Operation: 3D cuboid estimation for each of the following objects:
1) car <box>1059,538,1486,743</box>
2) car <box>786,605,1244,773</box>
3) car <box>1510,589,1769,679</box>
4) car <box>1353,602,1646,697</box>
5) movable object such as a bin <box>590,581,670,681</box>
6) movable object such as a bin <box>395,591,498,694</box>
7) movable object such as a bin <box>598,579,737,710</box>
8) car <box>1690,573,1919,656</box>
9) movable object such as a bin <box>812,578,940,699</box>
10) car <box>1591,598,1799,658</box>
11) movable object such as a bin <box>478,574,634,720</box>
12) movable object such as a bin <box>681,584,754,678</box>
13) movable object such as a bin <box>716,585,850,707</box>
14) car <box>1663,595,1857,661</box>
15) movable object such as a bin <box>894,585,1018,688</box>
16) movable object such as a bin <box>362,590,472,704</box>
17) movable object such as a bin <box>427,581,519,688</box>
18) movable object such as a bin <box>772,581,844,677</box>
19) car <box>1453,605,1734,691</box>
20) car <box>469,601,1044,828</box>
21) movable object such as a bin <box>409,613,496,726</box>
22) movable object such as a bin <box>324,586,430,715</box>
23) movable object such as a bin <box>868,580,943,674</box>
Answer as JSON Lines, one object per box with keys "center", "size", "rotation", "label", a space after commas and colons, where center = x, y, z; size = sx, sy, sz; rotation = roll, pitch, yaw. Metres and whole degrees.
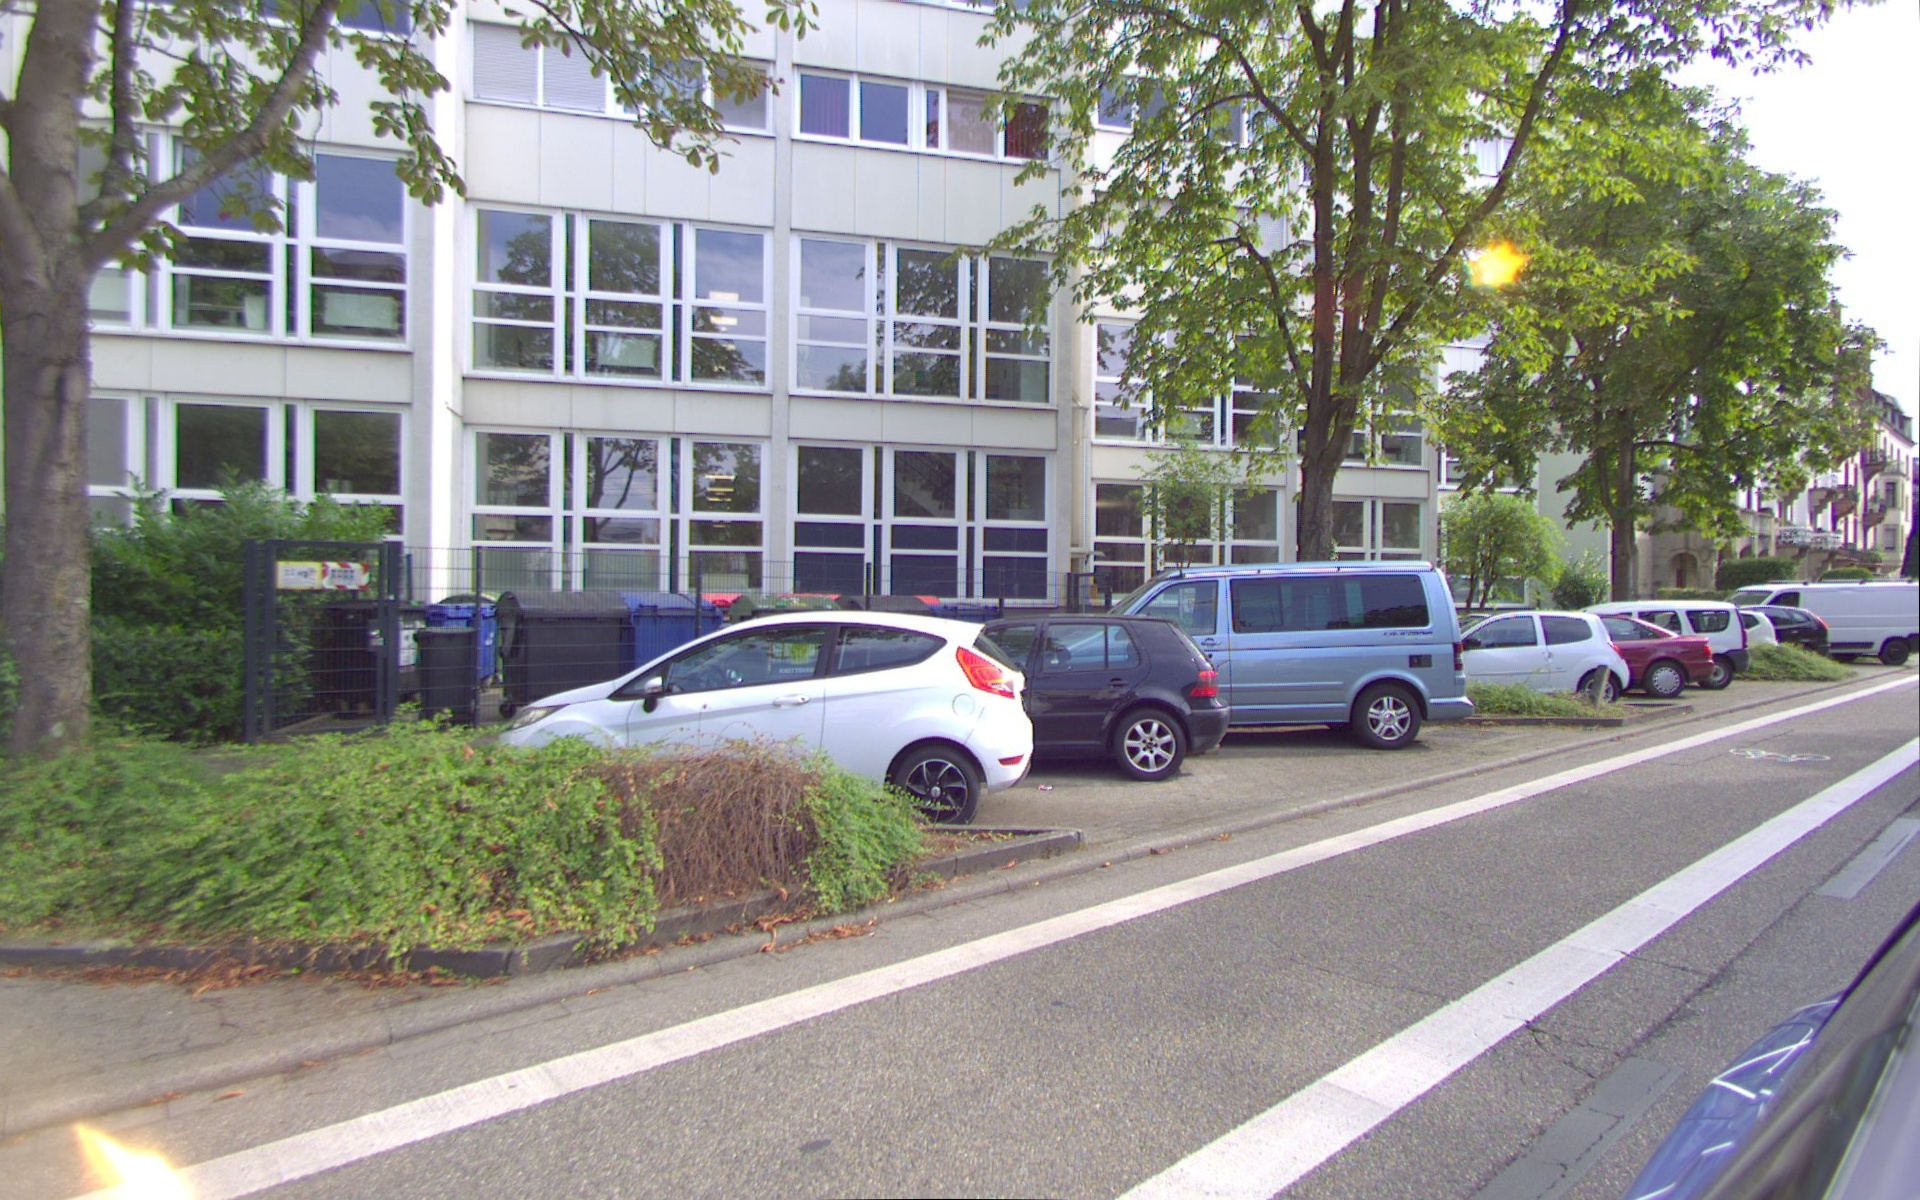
{"center": [3.305, 0.398, 11.497], "size": [4.268, 2.090, 1.998], "rotation": [0, 0, 5], "label": "car"}
{"center": [0.496, 0.768, 9.560], "size": [3.902, 1.405, 1.812], "rotation": [0, -1, 5], "label": "car"}
{"center": [13.002, 0.612, 19.586], "size": [3.708, 1.638, 1.810], "rotation": [0, 0, 9], "label": "car"}
{"center": [8.245, 0.726, 15.746], "size": [3.580, 1.347, 1.766], "rotation": [0, 0, 5], "label": "car"}
{"center": [-5.490, 0.495, 16.912], "size": [1.150, 1.588, 1.182], "rotation": [0, 0, -12], "label": "movable object such as a bin"}
{"center": [-7.300, 0.573, 14.466], "size": [1.155, 1.387, 1.177], "rotation": [0, 0, -19], "label": "movable object such as a bin"}
{"center": [-3.694, 0.516, 12.738], "size": [1.312, 1.523, 1.335], "rotation": [0, 0, -36], "label": "movable object such as a bin"}
{"center": [23.932, 0.371, 28.250], "size": [5.349, 2.203, 2.143], "rotation": [0, 0, 9], "label": "car"}
{"center": [-1.213, 0.515, 14.472], "size": [1.328, 1.616, 1.335], "rotation": [0, 0, -36], "label": "movable object such as a bin"}
{"center": [17.387, 0.631, 24.084], "size": [3.580, 1.347, 1.766], "rotation": [0, 0, 5], "label": "car"}
{"center": [-4.686, 0.492, 11.712], "size": [1.389, 1.549, 1.330], "rotation": [0, 0, -36], "label": "movable object such as a bin"}
{"center": [-4.057, 0.499, 17.055], "size": [1.150, 1.533, 1.182], "rotation": [0, 0, -12], "label": "movable object such as a bin"}
{"center": [-2.387, 0.570, 13.617], "size": [1.328, 1.521, 1.335], "rotation": [0, 0, -36], "label": "movable object such as a bin"}
{"center": [20.733, 0.687, 26.418], "size": [3.605, 1.609, 1.753], "rotation": [0, 1, 24], "label": "car"}
{"center": [-0.071, 0.524, 15.485], "size": [1.374, 1.477, 1.335], "rotation": [0, 0, -36], "label": "movable object such as a bin"}
{"center": [-7.023, 0.579, 13.155], "size": [1.095, 1.409, 1.065], "rotation": [0, 0, -19], "label": "movable object such as a bin"}
{"center": [-7.573, 0.515, 15.817], "size": [1.155, 1.588, 1.177], "rotation": [0, 0, -19], "label": "movable object such as a bin"}
{"center": [-2.639, 0.472, 17.450], "size": [1.150, 1.588, 1.182], "rotation": [0, 0, -12], "label": "movable object such as a bin"}
{"center": [10.883, 0.785, 17.648], "size": [3.708, 1.355, 1.810], "rotation": [0, 1, 9], "label": "car"}
{"center": [-1.311, 0.727, 7.383], "size": [3.792, 1.410, 1.632], "rotation": [0, 0, 4], "label": "car"}
{"center": [-5.383, 0.708, 10.726], "size": [0.729, 1.119, 0.786], "rotation": [0, 0, -34], "label": "movable object such as a bin"}
{"center": [-6.788, 0.557, 11.840], "size": [0.893, 1.425, 1.026], "rotation": [0, 0, -19], "label": "movable object such as a bin"}
{"center": [-0.970, 0.458, 17.752], "size": [1.150, 1.588, 1.182], "rotation": [0, 0, -12], "label": "movable object such as a bin"}
